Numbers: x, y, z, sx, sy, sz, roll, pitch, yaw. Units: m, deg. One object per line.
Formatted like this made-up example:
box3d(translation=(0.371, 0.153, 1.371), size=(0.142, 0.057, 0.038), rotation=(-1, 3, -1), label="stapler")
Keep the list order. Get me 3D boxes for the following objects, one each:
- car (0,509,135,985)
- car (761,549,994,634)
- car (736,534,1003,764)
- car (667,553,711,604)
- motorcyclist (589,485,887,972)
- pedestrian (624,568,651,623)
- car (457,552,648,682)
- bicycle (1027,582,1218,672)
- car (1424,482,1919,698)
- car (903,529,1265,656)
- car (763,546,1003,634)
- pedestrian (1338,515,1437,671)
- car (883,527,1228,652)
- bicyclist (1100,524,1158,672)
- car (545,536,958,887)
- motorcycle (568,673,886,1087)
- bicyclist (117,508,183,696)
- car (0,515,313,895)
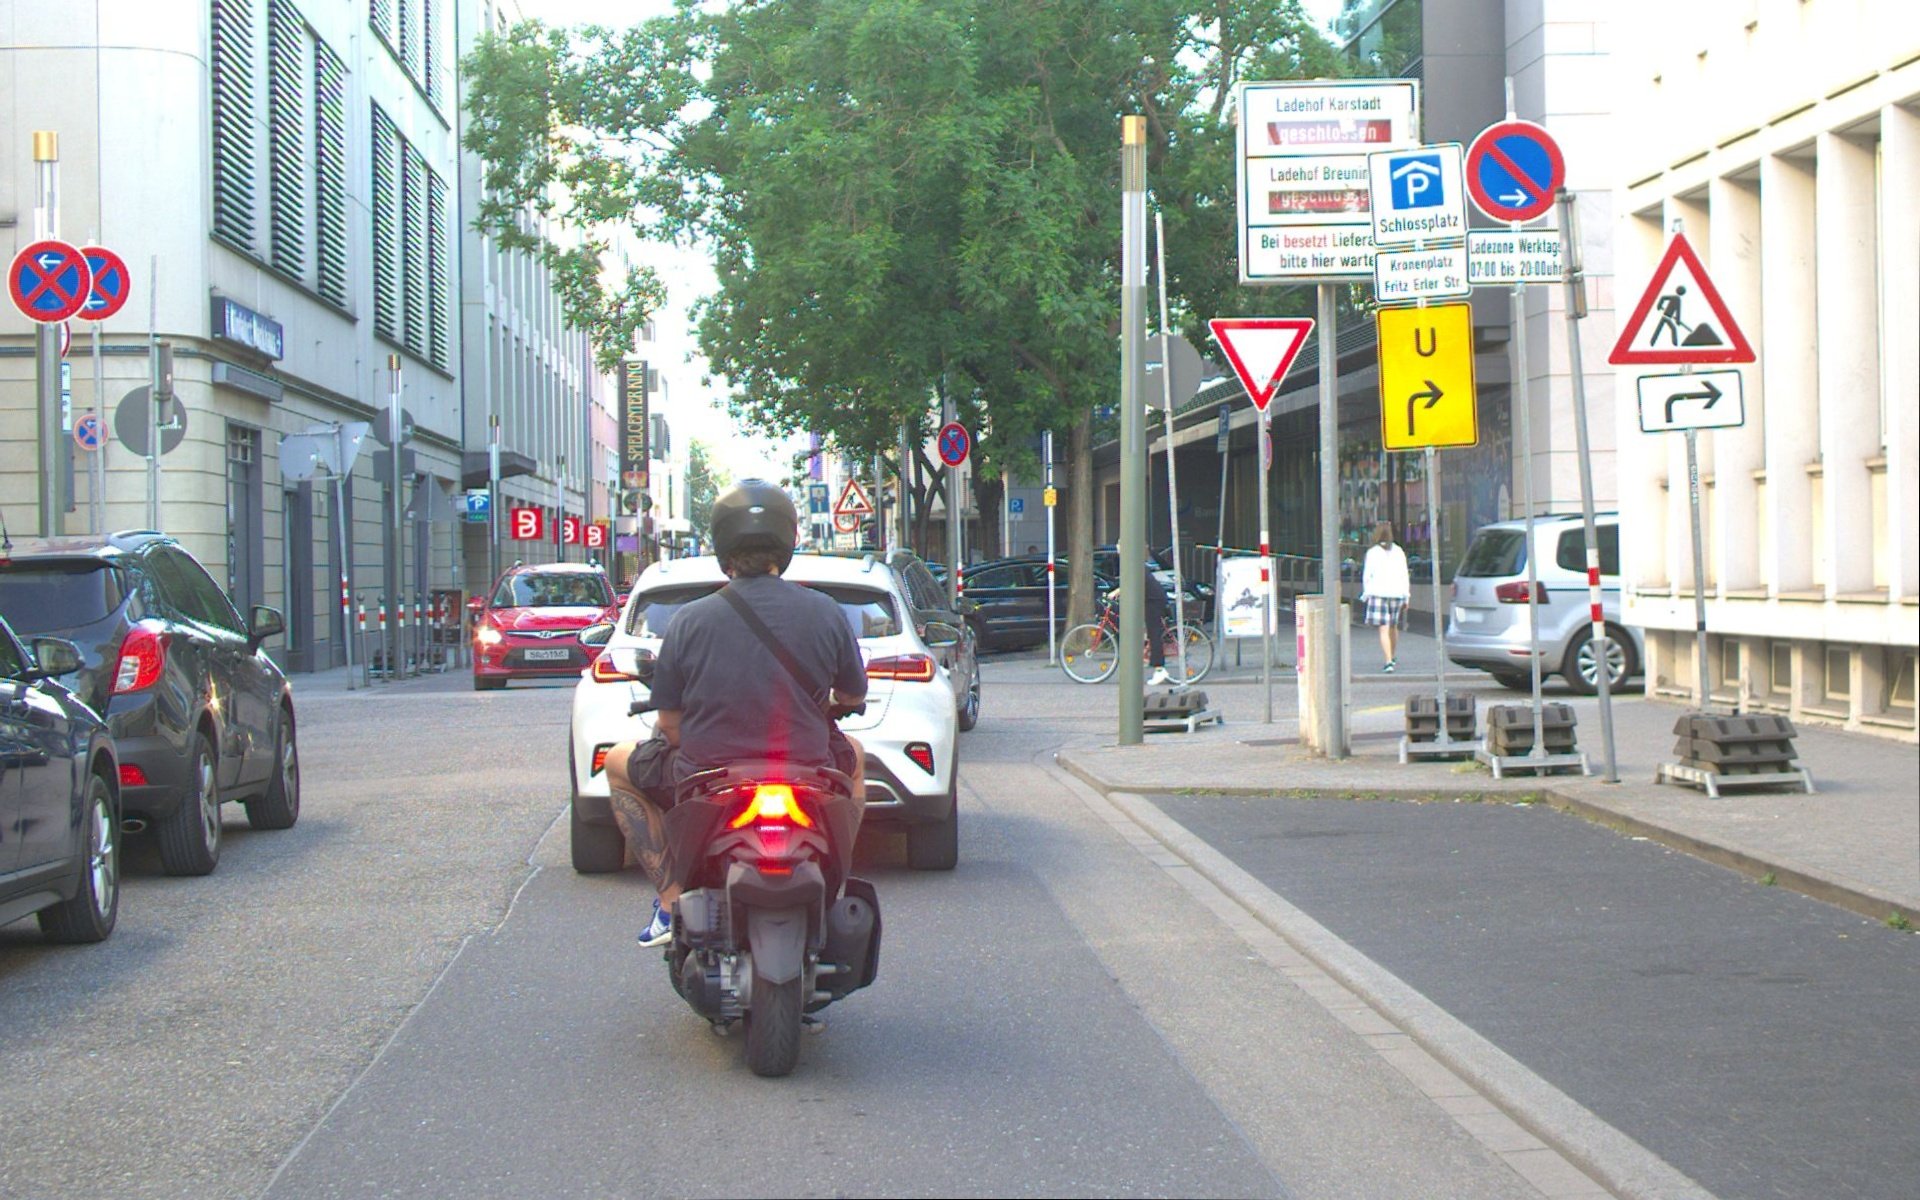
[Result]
box3d(translation=(-4.134, 0.521, 11.894), size=(1.739, 1.589, 4.154), rotation=(-3, 1, -4), label="car")
box3d(translation=(-1.876, -0.195, 77.095), size=(5.003, 1.494, 2.000), rotation=(-4, 0, -5), label="car")
box3d(translation=(-0.778, 0.304, 26.452), size=(1.822, 1.536, 4.365), rotation=(-3, 1, -4), label="car")
box3d(translation=(-12.817, -1.031, 162.361), size=(1.993, 2.321, 5.022), rotation=(1, 1, -5), label="car")
box3d(translation=(-0.656, 0.375, 10.287), size=(0.867, 1.422, 0.455), rotation=(0, 0, -2), label="motorcyclist")
box3d(translation=(-9.173, -0.125, 97.775), size=(0.732, 1.568, 0.636), rotation=(0, 0, -2), label="pedestrian")
box3d(translation=(-4.830, 0.232, 41.225), size=(1.822, 1.460, 4.263), rotation=(-1, -1, -1), label="car")
box3d(translation=(1.800, 0.296, 37.985), size=(2.102, 0.992, 0.518), rotation=(0, 0, 4), label="bicycle")
box3d(translation=(6.921, -0.137, 32.999), size=(4.478, 1.639, 1.829), rotation=(-4, 5, -14), label="car")
box3d(translation=(1.773, -0.112, 50.400), size=(5.003, 1.447, 2.000), rotation=(-4, 0, -5), label="car")
box3d(translation=(-1.693, -0.212, 74.644), size=(5.003, 1.494, 2.000), rotation=(-4, 0, -5), label="car")
box3d(translation=(4.835, -0.078, 38.920), size=(0.905, 1.700, 0.834), rotation=(-3, 0, -1), label="pedestrian")
box3d(translation=(1.434, -0.160, 52.788), size=(5.003, 1.494, 2.000), rotation=(-4, 0, -5), label="car")
box3d(translation=(1.867, -0.025, 37.988), size=(0.630, 1.620, 0.498), rotation=(0, 0, 4), label="bicyclist")
box3d(translation=(-1.065, 0.455, 17.456), size=(1.822, 1.536, 4.264), rotation=(-1, 1, -4), label="car")
box3d(translation=(-0.671, 0.790, 10.399), size=(0.872, 1.105, 1.840), rotation=(0, 0, -2), label="motorcycle")
box3d(translation=(-7.518, 0.022, 31.909), size=(0.550, 1.726, 0.501), rotation=(0, 0, -19), label="bicyclist")
box3d(translation=(-4.558, 0.452, 17.588), size=(1.822, 1.672, 4.264), rotation=(-3, 1, -3), label="car")
